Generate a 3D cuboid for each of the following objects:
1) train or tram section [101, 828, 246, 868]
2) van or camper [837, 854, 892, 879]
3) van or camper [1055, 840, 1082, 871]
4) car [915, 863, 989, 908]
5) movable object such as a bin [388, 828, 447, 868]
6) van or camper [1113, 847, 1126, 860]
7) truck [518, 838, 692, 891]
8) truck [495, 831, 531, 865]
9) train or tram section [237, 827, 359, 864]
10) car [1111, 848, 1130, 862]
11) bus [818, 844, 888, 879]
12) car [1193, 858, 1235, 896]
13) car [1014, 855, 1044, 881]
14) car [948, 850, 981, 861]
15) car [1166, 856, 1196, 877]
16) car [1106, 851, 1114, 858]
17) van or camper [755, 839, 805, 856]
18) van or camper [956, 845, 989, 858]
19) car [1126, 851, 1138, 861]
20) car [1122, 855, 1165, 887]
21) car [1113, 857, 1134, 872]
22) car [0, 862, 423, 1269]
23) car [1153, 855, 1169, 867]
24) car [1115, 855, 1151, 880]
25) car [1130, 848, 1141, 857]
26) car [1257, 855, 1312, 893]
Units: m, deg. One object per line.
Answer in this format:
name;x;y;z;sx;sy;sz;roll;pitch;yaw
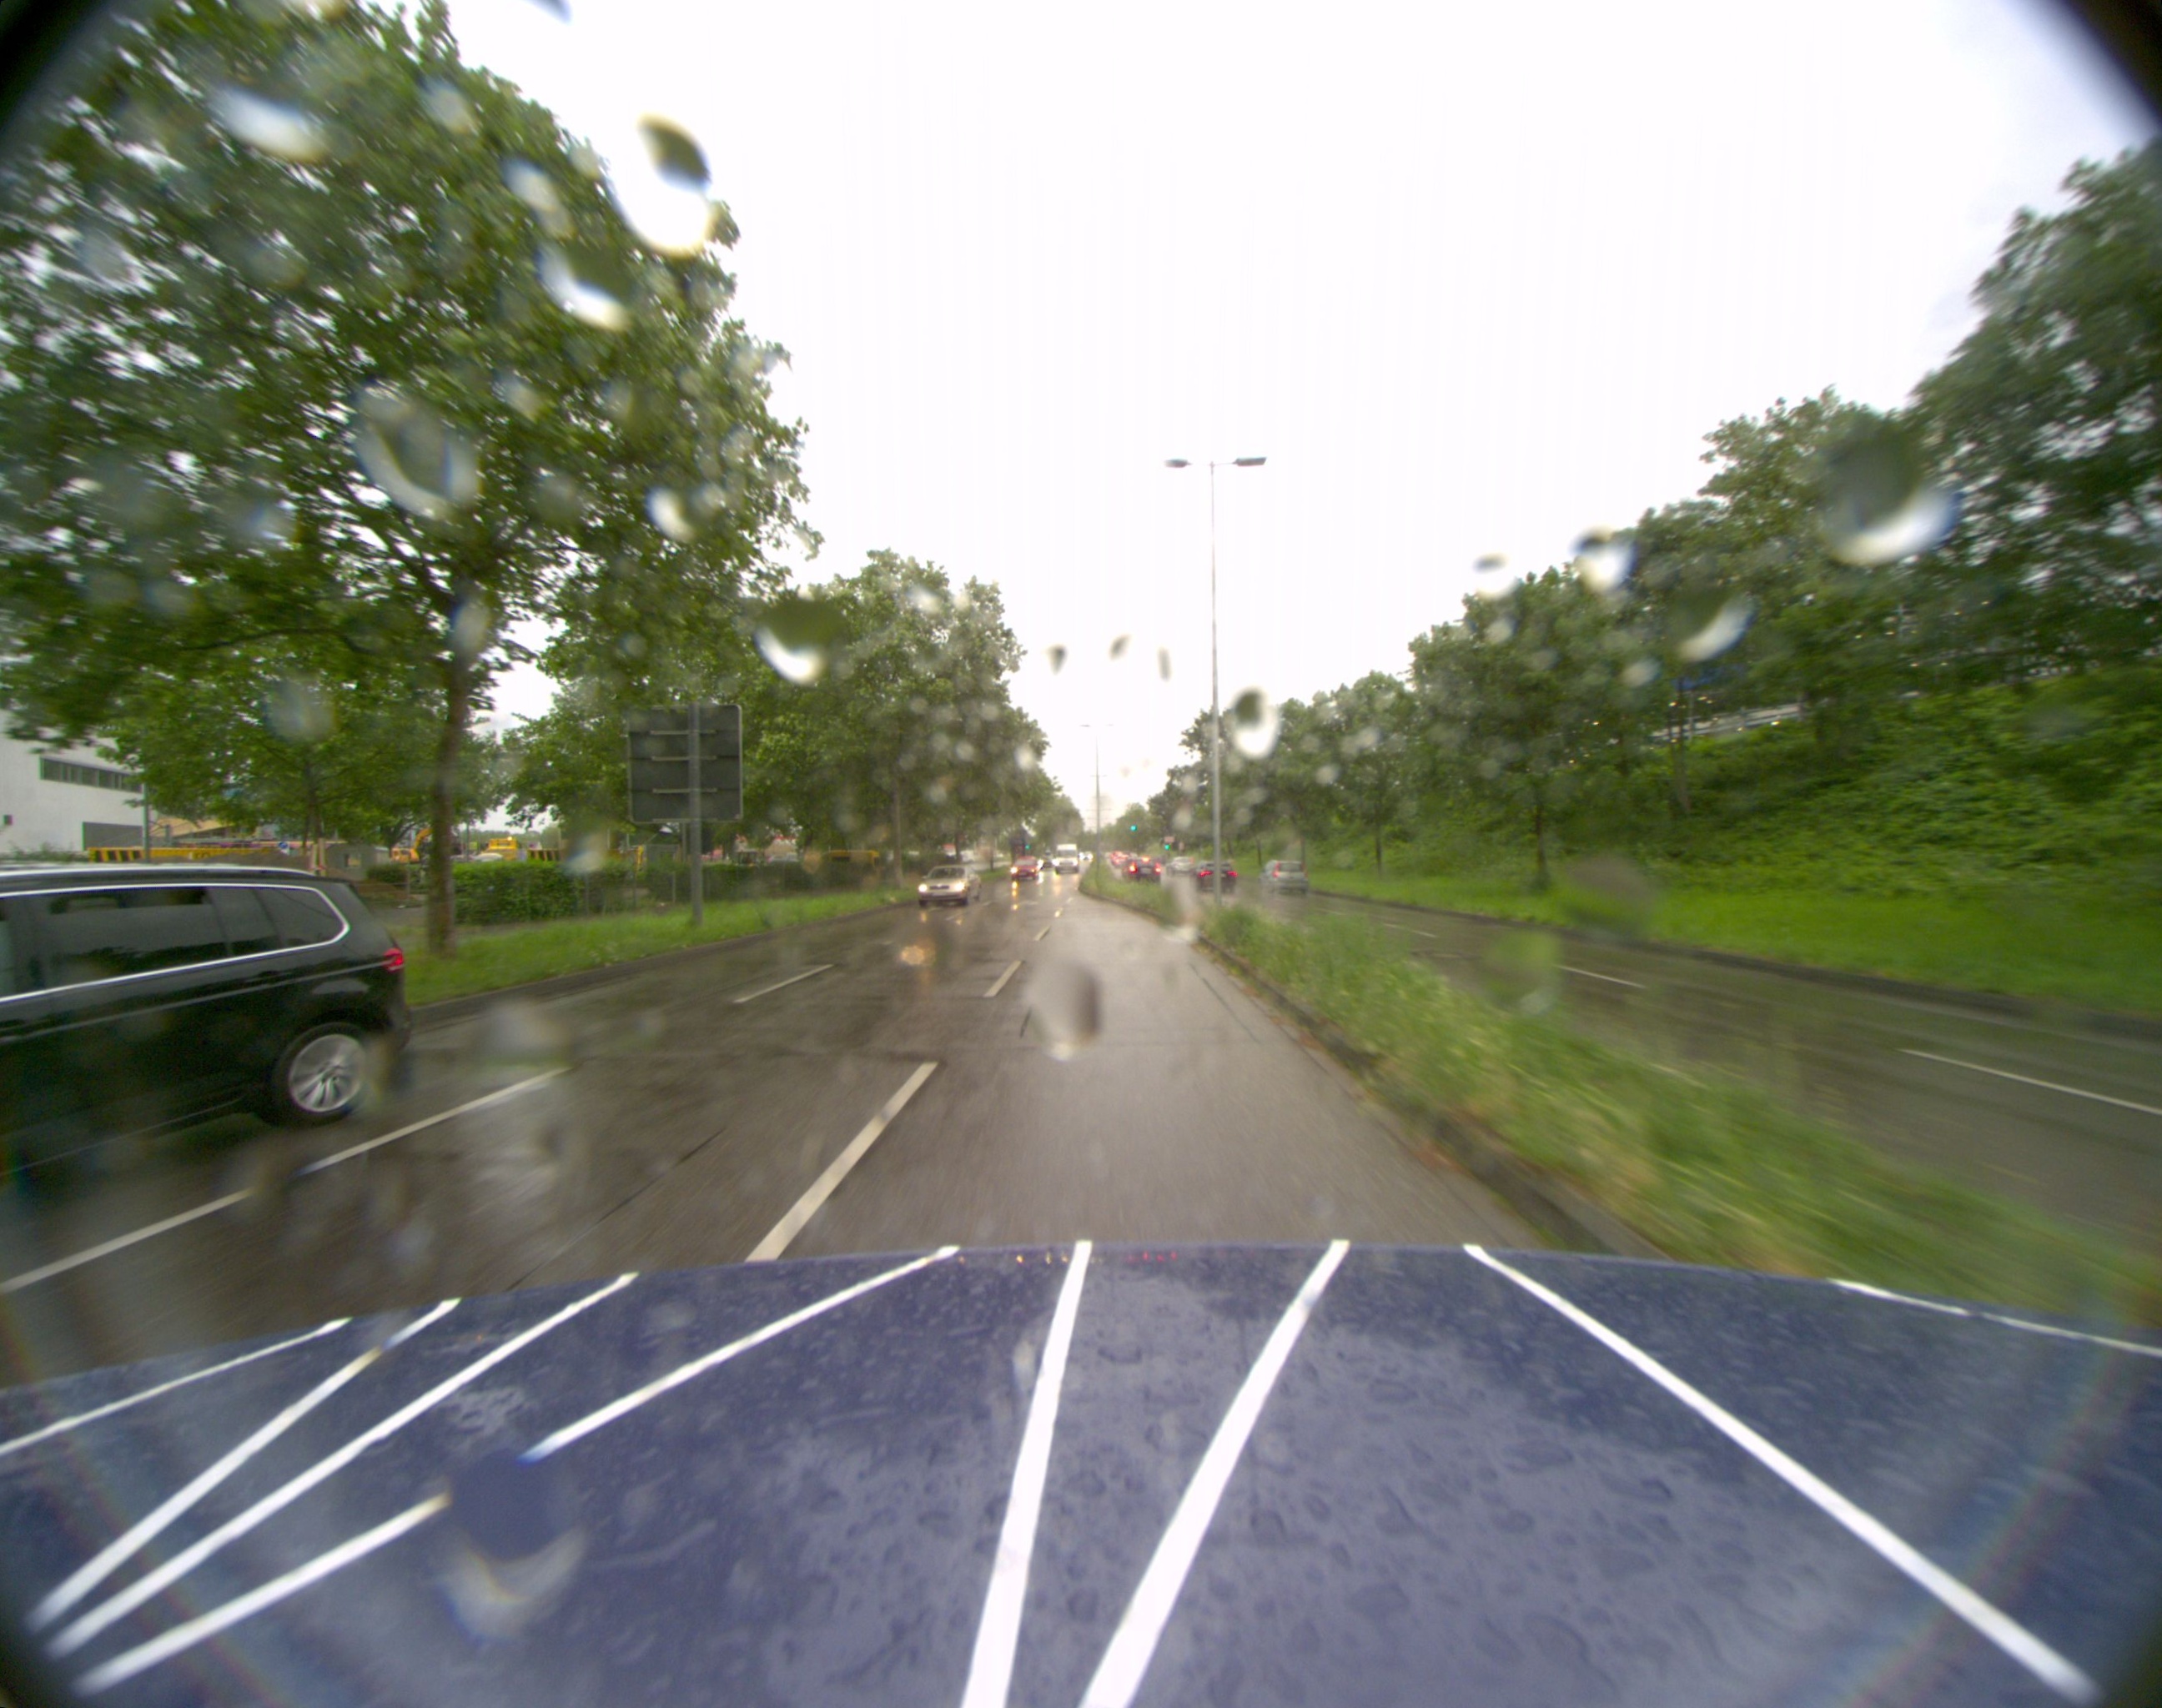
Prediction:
train or tram section;-87.891;-0.633;73.870;8.545;3.500;2.394;-3;3;-37
van or camper;-17.814;0.988;62.751;3.998;1.896;1.801;-2;1;-3
van or camper;-1.069;0.105;68.664;2.100;2.580;4.776;-2;1;2
car;-4.661;1.092;28.114;1.807;1.422;4.386;-1;1;2
movable object such as a bin;-61.995;-0.587;71.017;3.602;3.605;3.326;0;1;37
van or camper;5.679;-0.080;112.350;1.733;1.732;3.999;2;1;0
truck;-31.811;0.611;51.181;9.516;3.015;3.073;-3;2;-34
truck;-61.342;-0.675;82.194;2.500;3.327;9.445;-3;2;-34
train or tram section;-81.087;-0.976;78.944;8.385;3.500;2.394;-3;3;-37
car;5.083;0.095;97.798;1.904;1.604;4.110;2;1;-3
bus;-17.938;0.552;59.863;4.803;2.632;2.000;-1;1;3
car;6.348;1.067;36.546;1.724;1.608;4.347;1;1;7
car;-3.741;0.969;55.294;1.699;1.759;4.558;-1;1;2
car;-17.470;0.246;114.221;4.470;1.663;1.863;-1;1;-37
car;8.136;1.009;62.115;1.913;1.565;4.709;2;0;2
car;7.250;0.193;188.612;1.998;1.678;4.709;1;0;2
van or camper;-62.137;-1.337;156.899;8.994;3.140;2.979;-3;2;-34
van or camper;-16.953;-0.378;118.715;4.917;2.076;1.863;-1;1;-37
car;8.791;0.382;131.127;1.998;1.678;4.709;1;0;2
car;3.445;0.915;42.685;1.829;1.566;4.358;2;1;-2
car;4.576;1.113;82.381;1.914;1.565;4.707;1;0;-2
car;-5.629;0.967;3.254;1.861;1.716;4.190;-2;1;1
car;11.150;0.956;106.154;1.998;1.678;4.709;1;0;2
car;3.639;0.926;53.778;1.914;1.565;4.706;1;1;-4
car;10.907;-0.266;151.985;1.998;1.678;4.709;1;0;2
car;9.513;0.894;35.779;1.700;1.608;3.848;-1;1;3
